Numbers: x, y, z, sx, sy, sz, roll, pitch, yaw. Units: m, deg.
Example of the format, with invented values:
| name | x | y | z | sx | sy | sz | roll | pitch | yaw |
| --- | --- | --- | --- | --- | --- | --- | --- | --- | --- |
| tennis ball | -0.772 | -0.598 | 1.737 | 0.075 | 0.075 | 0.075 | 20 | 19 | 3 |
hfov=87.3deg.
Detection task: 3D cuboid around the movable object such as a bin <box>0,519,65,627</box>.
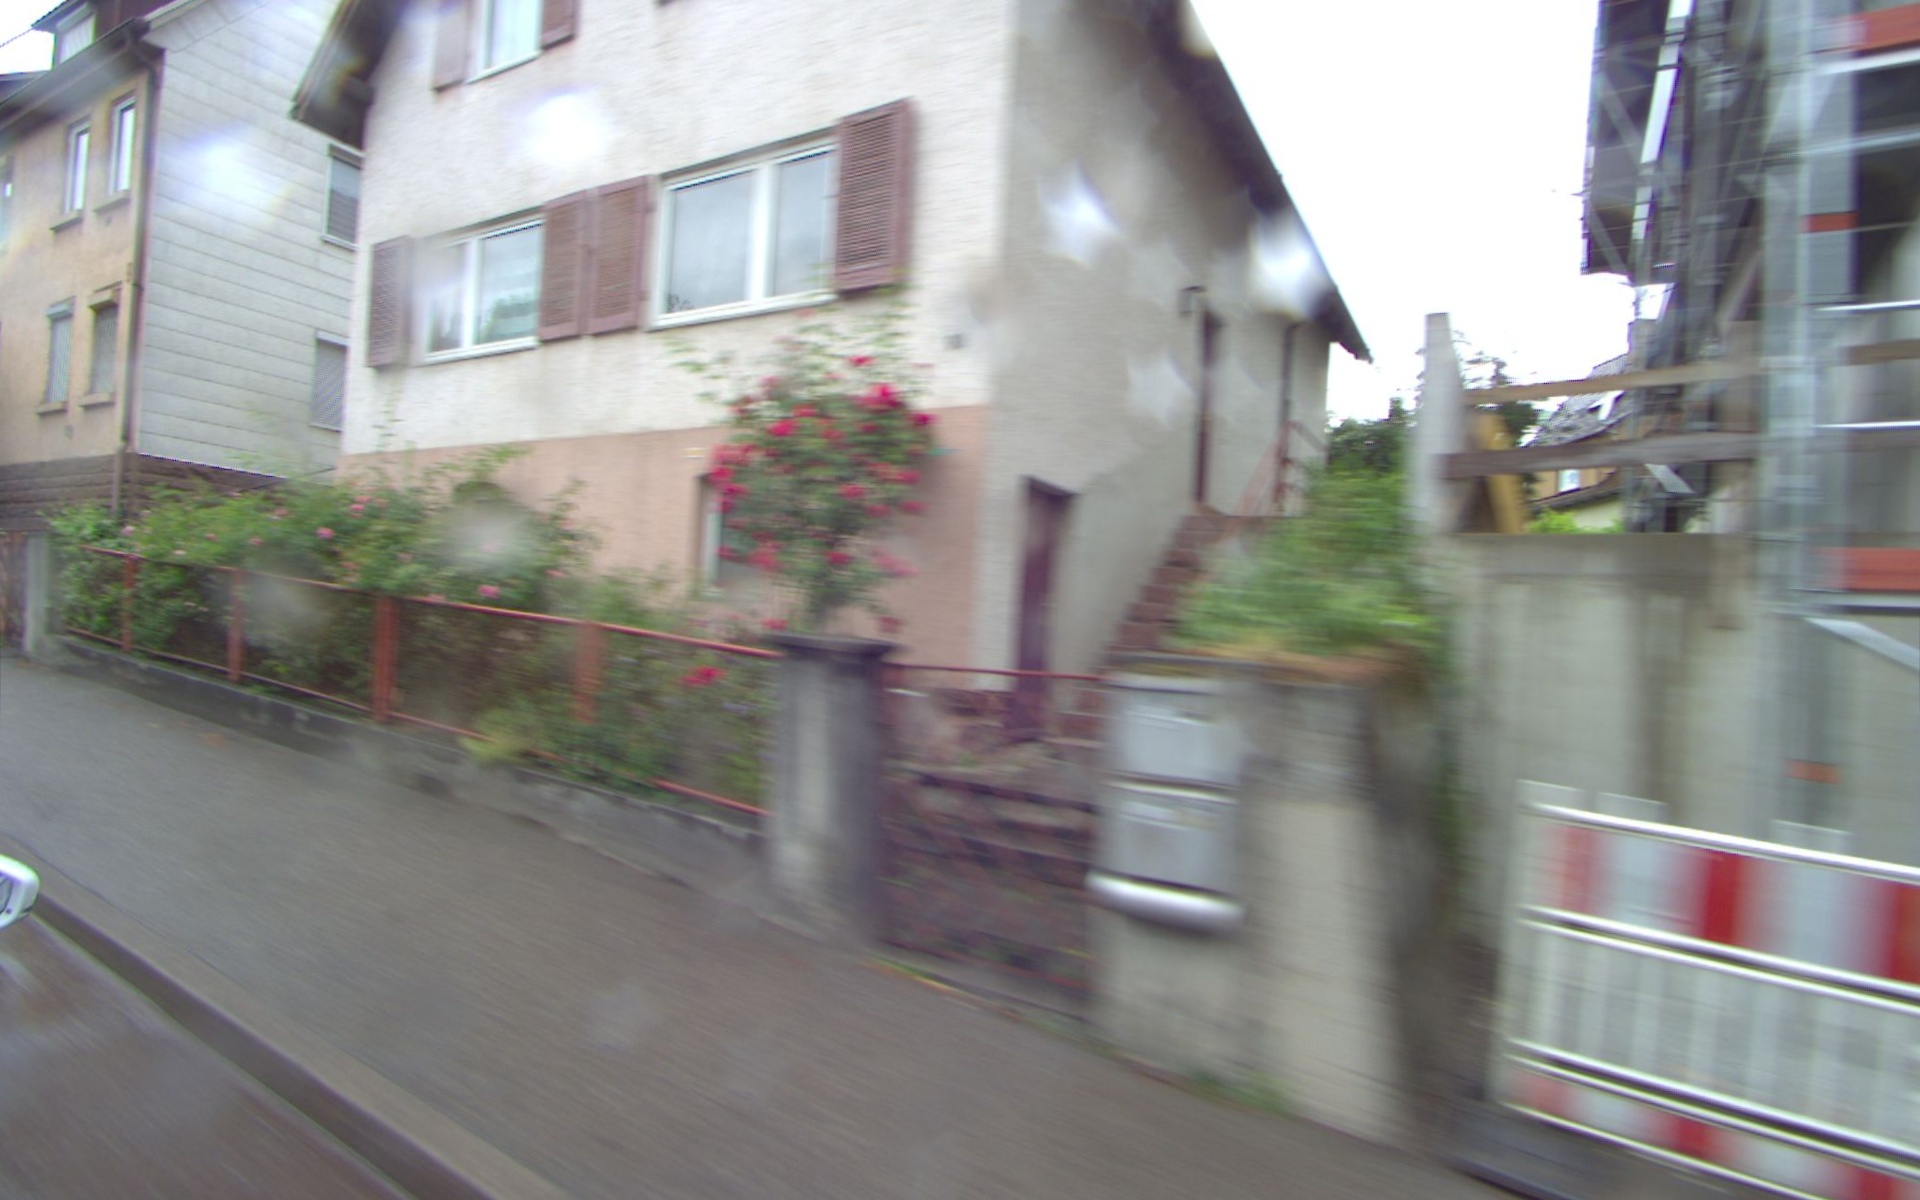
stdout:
| name | x | y | z | sx | sy | sz | roll | pitch | yaw |
| --- | --- | --- | --- | --- | --- | --- | --- | --- | --- |
| movable object such as a bin | -10.132 | -0.301 | 10.742 | 0.778 | 1.091 | 0.610 | 7 | 3 | 29 |
